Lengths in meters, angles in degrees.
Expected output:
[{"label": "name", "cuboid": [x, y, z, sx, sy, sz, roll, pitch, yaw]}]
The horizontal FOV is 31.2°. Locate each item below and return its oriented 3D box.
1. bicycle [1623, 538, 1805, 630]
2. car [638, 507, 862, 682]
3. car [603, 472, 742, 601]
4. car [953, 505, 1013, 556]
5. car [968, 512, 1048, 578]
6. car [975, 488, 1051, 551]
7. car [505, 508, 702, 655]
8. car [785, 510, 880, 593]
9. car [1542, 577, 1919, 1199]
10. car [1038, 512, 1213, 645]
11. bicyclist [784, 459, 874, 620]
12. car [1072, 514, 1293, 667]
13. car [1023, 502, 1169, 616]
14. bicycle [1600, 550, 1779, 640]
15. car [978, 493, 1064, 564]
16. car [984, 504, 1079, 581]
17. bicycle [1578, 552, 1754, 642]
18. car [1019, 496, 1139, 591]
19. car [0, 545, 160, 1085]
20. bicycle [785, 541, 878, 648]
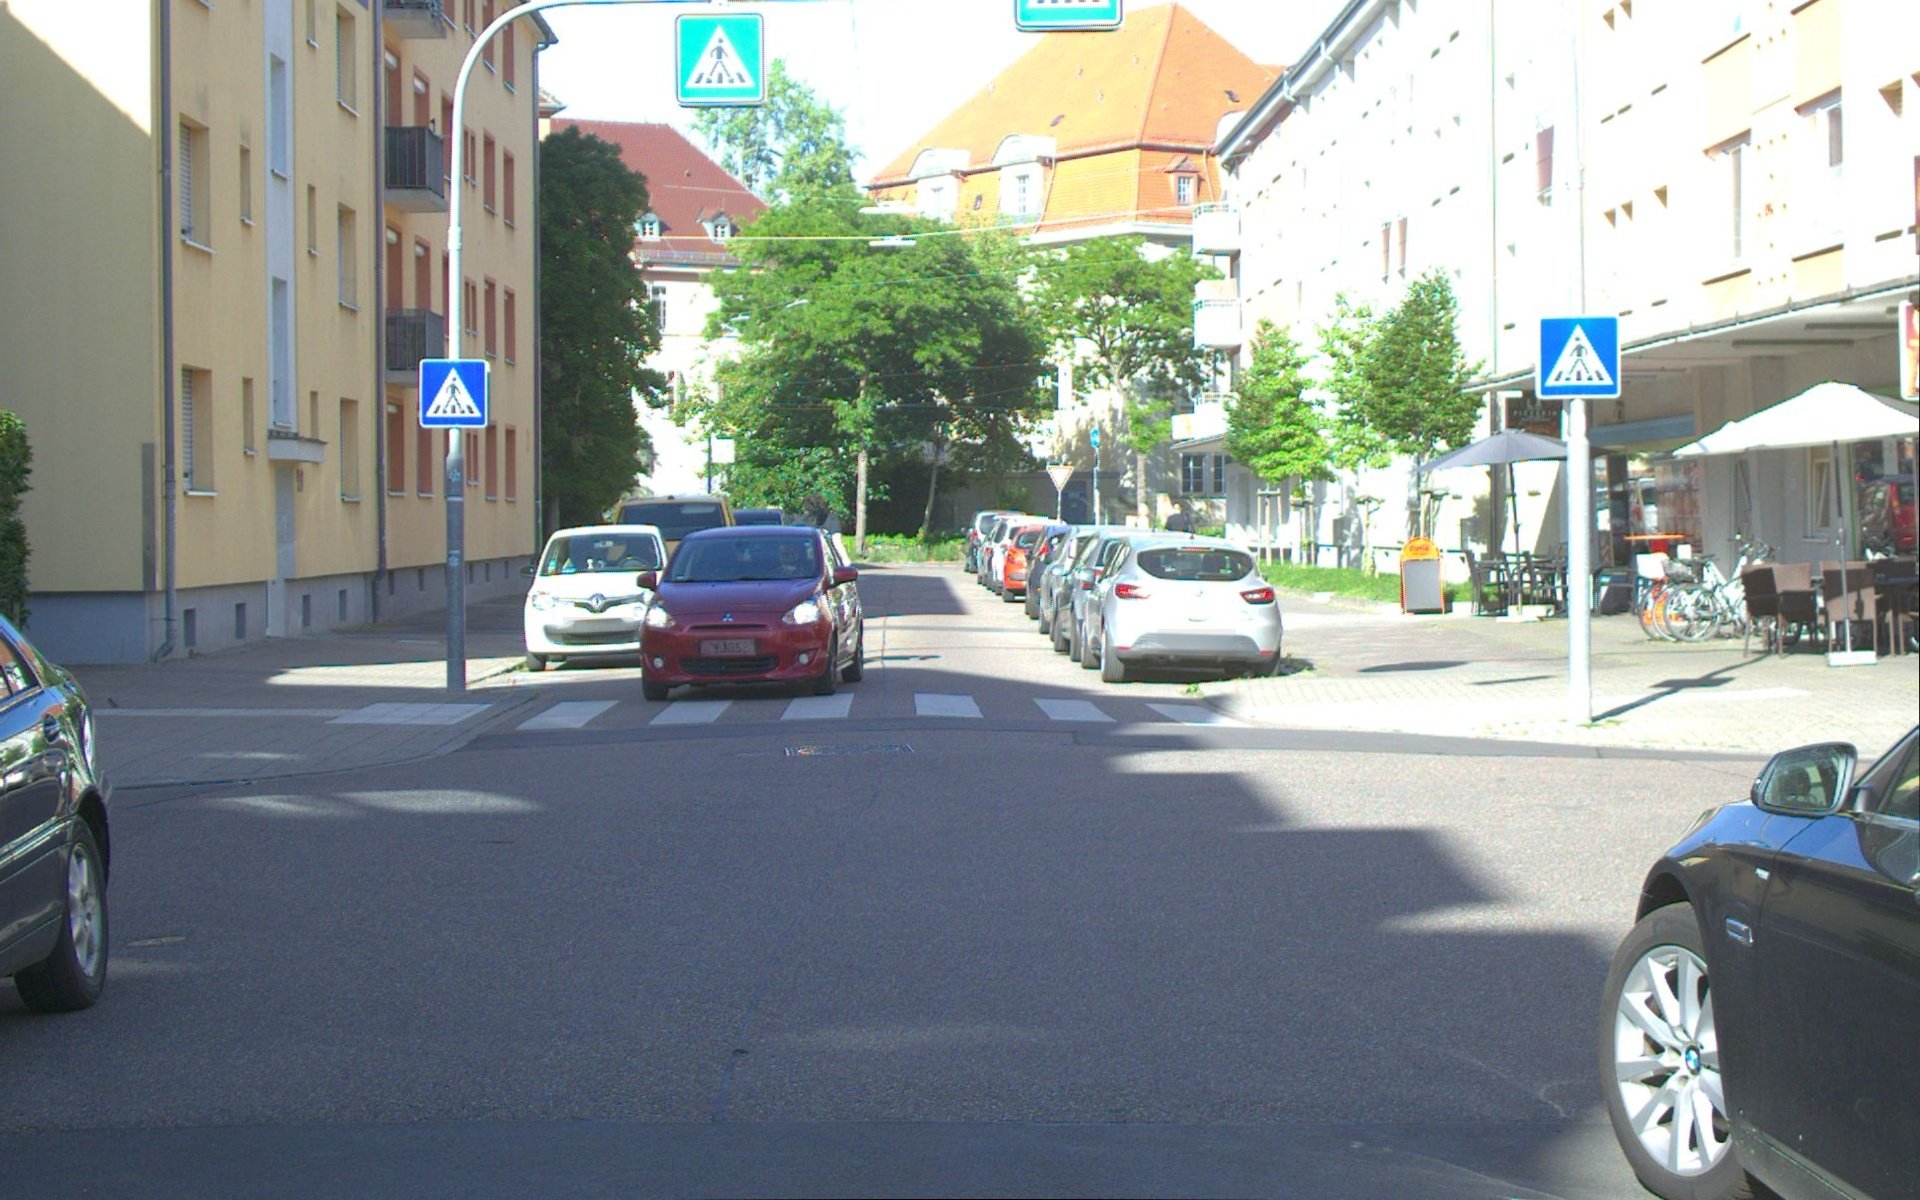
[{"label": "bicycle", "cuboid": [8.141, -0.176, 37.134, 1.806, 0.964, 0.674, 0, 1, -11]}, {"label": "car", "cuboid": [-1.778, -0.090, 30.073, 1.697, 1.436, 3.419, 0, 2, 1]}, {"label": "car", "cuboid": [-4.100, -0.932, 49.564, 1.697, 1.772, 4.099, 0, 2, -1]}, {"label": "car", "cuboid": [0.660, -2.034, 100.107, 1.637, 1.436, 3.419, 0, 2, -2]}, {"label": "car", "cuboid": [1.041, -1.239, 76.292, 1.637, 1.436, 3.419, 0, 2, -2]}, {"label": "car", "cuboid": [1.229, -1.898, 80.900, 1.637, 1.436, 3.419, 0, 2, -2]}, {"label": "car", "cuboid": [-3.940, -0.256, 38.577, 1.791, 1.475, 4.099, -1, 2, -1]}, {"label": "car", "cuboid": [-2.269, -0.880, 61.008, 1.637, 1.436, 3.419, 0, 2, -2]}, {"label": "car", "cuboid": [2.462, 0.750, 5.702, 1.853, 1.518, 4.778, 1, 1, -4]}, {"label": "car", "cuboid": [1.833, -0.280, 39.008, 1.690, 1.436, 3.419, 0, 2, -2]}, {"label": "bicyclist", "cuboid": [-1.344, -0.630, 35.436, 0.786, 1.615, 0.956, -2, 2, 4]}, {"label": "car", "cuboid": [2.163, -0.135, 34.244, 1.845, 1.436, 3.419, 0, 2, -2]}, {"label": "car", "cuboid": [1.734, -0.560, 44.865, 1.637, 1.436, 3.419, 0, 2, -2]}, {"label": "bicycle", "cuboid": [8.007, -0.061, 37.764, 1.806, 0.964, 0.674, 0, 1, -11]}, {"label": "car", "cuboid": [1.250, -1.507, 71.666, 1.637, 1.436, 3.419, 0, 2, -2]}, {"label": "car", "cuboid": [1.334, -1.117, 65.534, 1.637, 1.436, 3.419, 0, 2, -2]}, {"label": "bicycle", "cuboid": [7.880, -0.040, 38.393, 1.806, 0.964, 0.674, 0, 1, -11]}, {"label": "car", "cuboid": [1.839, -0.900, 53.971, 1.637, 1.436, 3.419, 0, 2, -2]}, {"label": "car", "cuboid": [-3.410, 0.623, 9.065, 1.703, 1.411, 4.375, -4, 1, -3]}, {"label": "bicycle", "cuboid": [-1.319, -0.069, 35.491, 0.778, 1.066, 1.789, 0, 1, 4]}]
